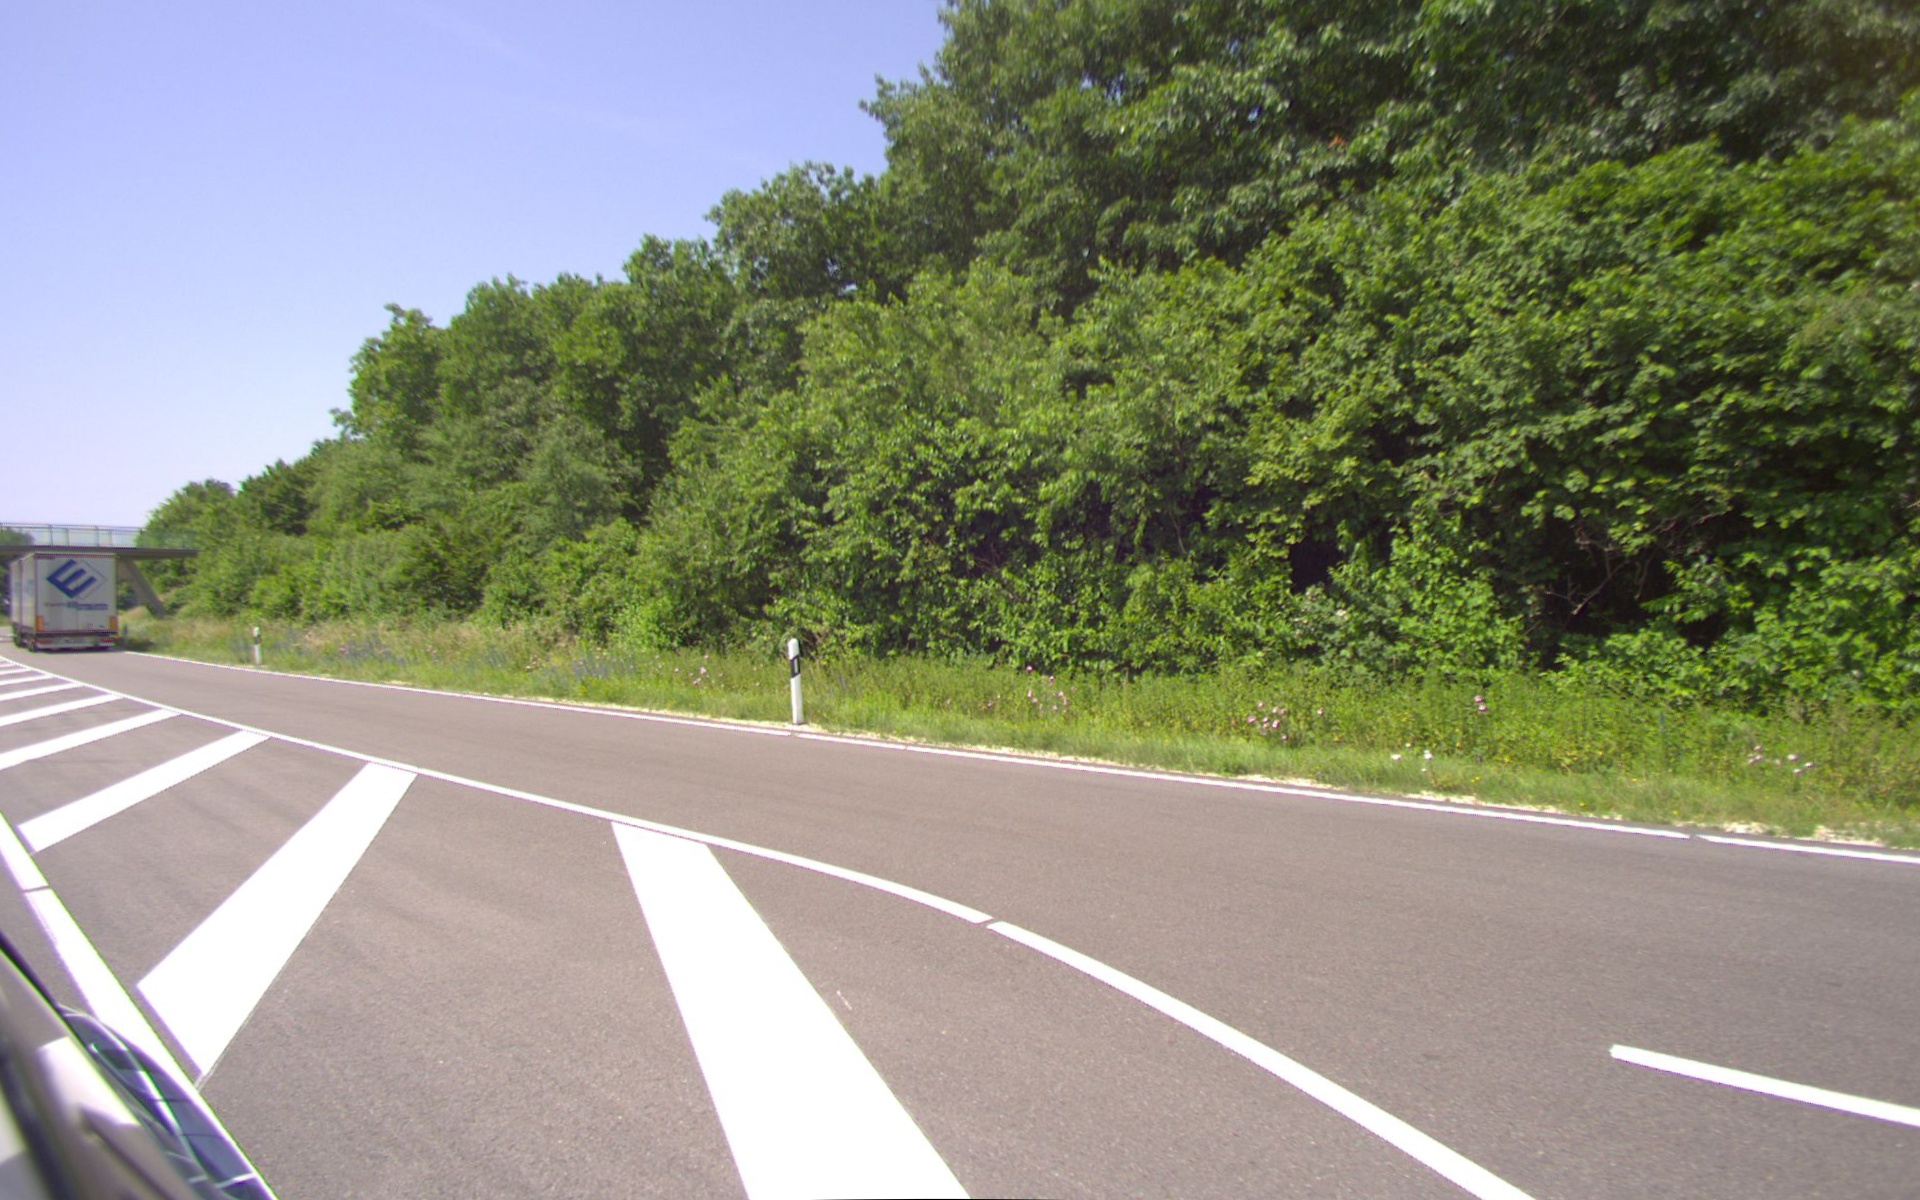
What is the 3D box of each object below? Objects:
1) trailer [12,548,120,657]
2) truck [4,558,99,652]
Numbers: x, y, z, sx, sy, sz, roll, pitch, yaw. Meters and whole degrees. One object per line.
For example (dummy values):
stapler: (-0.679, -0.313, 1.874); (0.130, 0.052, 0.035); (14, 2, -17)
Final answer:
trailer: (-37.738, 0.135, 42.587); (9.005, 4.126, 2.796); (-1, 0, 45)
truck: (-44.207, 0.272, 49.086); (11.068, 4.126, 2.766); (-1, 0, 45)
